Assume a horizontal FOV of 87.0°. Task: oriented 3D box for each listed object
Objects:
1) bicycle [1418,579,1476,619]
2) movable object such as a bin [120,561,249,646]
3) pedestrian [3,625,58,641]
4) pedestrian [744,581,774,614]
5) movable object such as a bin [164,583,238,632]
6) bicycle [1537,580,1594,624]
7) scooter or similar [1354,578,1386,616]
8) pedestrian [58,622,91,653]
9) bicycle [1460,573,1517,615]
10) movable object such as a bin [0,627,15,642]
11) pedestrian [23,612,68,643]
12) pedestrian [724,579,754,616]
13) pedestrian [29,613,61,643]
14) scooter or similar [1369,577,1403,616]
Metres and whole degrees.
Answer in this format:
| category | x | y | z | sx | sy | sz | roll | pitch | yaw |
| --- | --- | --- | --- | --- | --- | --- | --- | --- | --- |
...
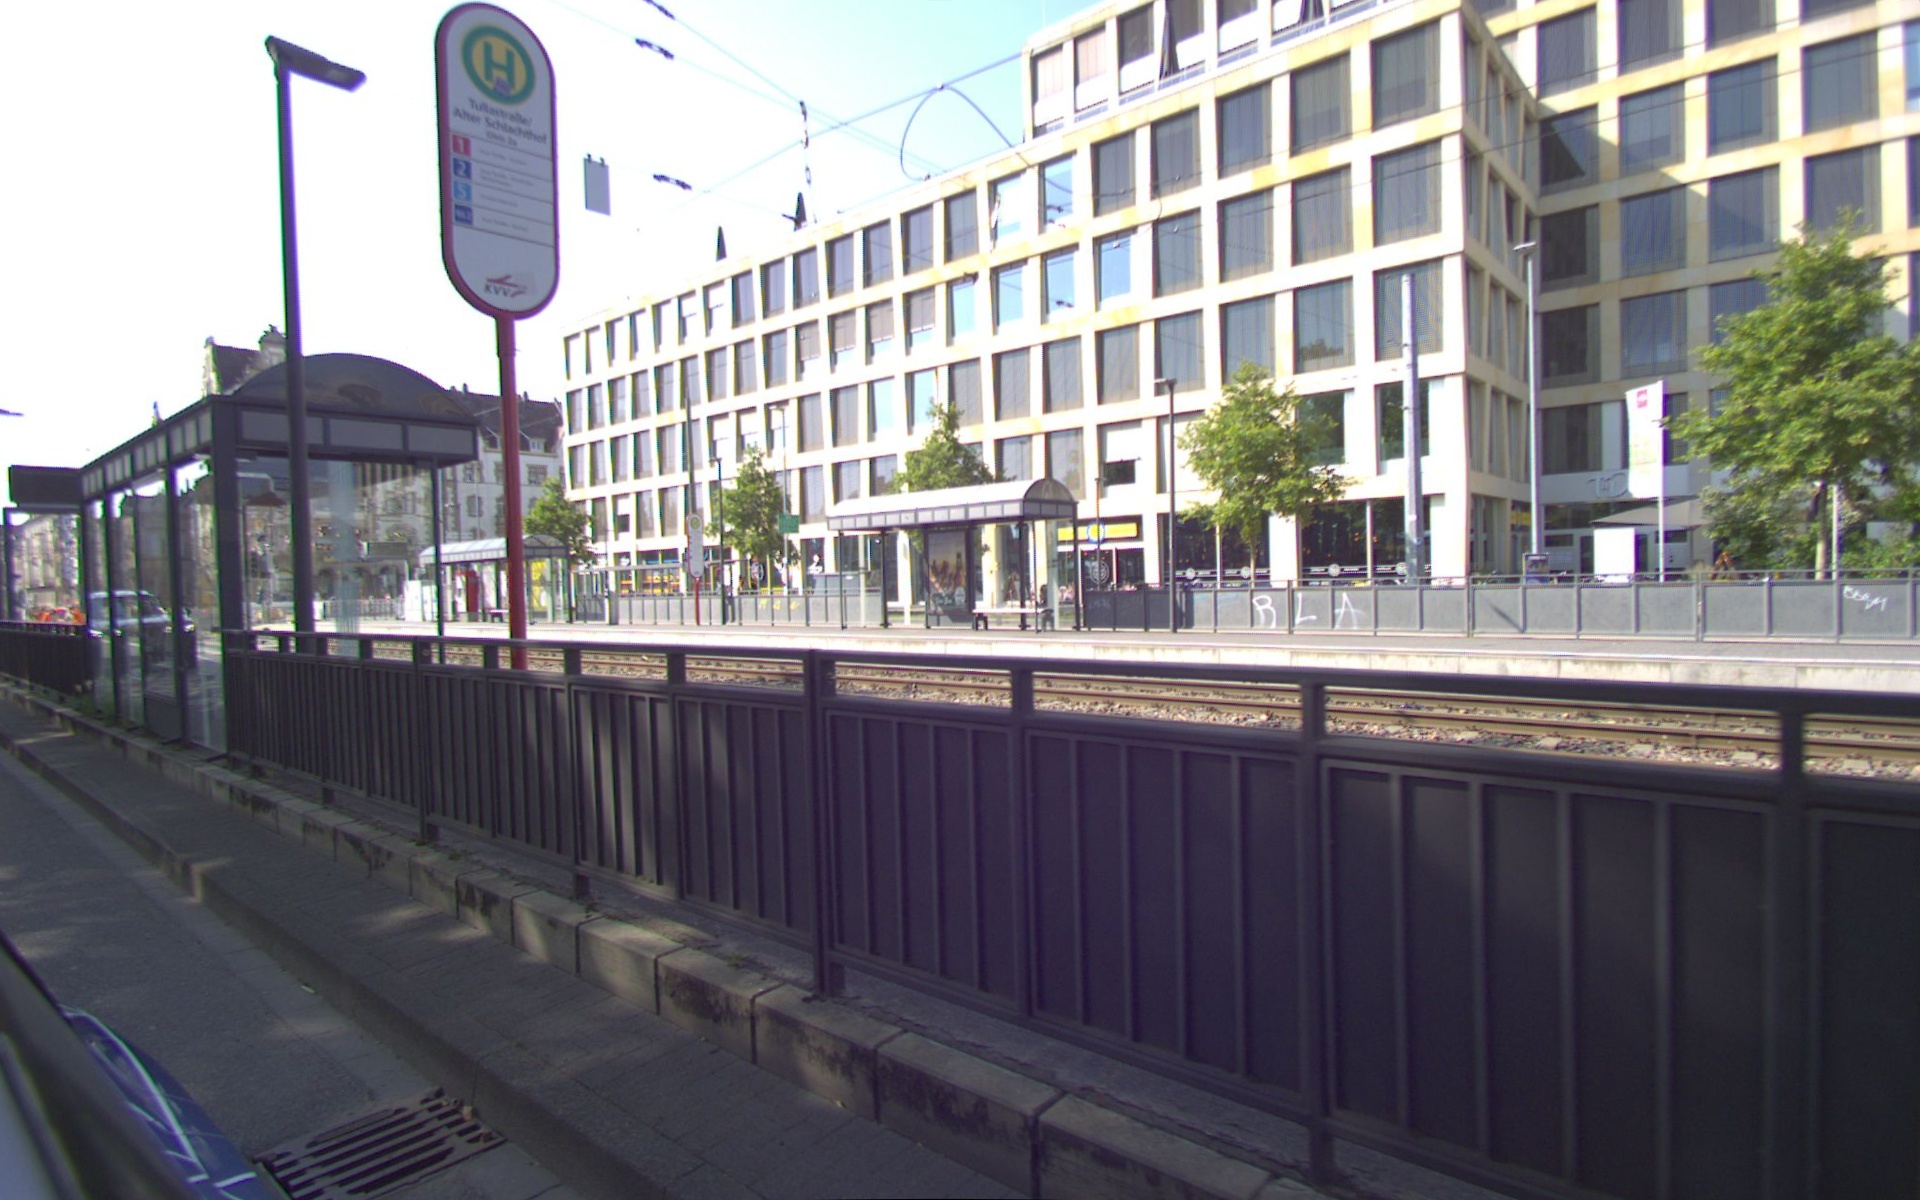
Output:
| category | x | y | z | sx | sy | sz | roll | pitch | yaw |
| --- | --- | --- | --- | --- | --- | --- | --- | --- | --- |
| bicycle | 12.837 | -0.035 | 26.644 | 0.821 | 0.993 | 2.409 | -1 | 1 | 40 |
| movable object such as a bin | -40.813 | 0.173 | 53.666 | 3.454 | 4.043 | 9.071 | -2 | 0 | -25 |
| pedestrian | -44.407 | 1.574 | 48.367 | 0.913 | 0.641 | 1.880 | -1 | 1 | 45 |
| pedestrian | -10.139 | -0.118 | 51.148 | 1.123 | 1.609 | 0.966 | -1 | 1 | 41 |
| movable object such as a bin | -55.467 | 0.566 | 73.884 | 8.346 | 3.355 | 2.815 | -1 | 1 | 43 |
| bicycle | 14.801 | 0.036 | 24.692 | 0.821 | 0.993 | 2.409 | -1 | 1 | 40 |
| scooter or similar | 11.274 | -0.091 | 27.807 | 0.371 | 0.993 | 1.486 | -1 | 1 | 39 |
| pedestrian | -39.764 | 1.686 | 45.448 | 0.983 | 1.316 | 1.003 | -2 | 1 | 45 |
| bicycle | 13.655 | -0.171 | 26.112 | 0.821 | 0.993 | 2.409 | -1 | 1 | 40 |
| movable object such as a bin | -41.937 | 1.516 | 43.694 | 1.484 | 0.657 | 0.704 | -2 | 1 | -28 |
| pedestrian | -41.687 | 1.245 | 46.142 | 1.293 | 1.316 | 0.801 | -2 | 0 | -25 |
| pedestrian | -11.043 | -0.129 | 50.522 | 1.123 | 1.765 | 0.966 | -1 | 1 | 41 |
| pedestrian | -41.054 | 1.247 | 45.421 | 0.825 | 1.316 | 0.801 | -2 | 0 | -25 |
| scooter or similar | 11.522 | -0.102 | 27.347 | 0.395 | 0.993 | 1.507 | -1 | 1 | 40 |
